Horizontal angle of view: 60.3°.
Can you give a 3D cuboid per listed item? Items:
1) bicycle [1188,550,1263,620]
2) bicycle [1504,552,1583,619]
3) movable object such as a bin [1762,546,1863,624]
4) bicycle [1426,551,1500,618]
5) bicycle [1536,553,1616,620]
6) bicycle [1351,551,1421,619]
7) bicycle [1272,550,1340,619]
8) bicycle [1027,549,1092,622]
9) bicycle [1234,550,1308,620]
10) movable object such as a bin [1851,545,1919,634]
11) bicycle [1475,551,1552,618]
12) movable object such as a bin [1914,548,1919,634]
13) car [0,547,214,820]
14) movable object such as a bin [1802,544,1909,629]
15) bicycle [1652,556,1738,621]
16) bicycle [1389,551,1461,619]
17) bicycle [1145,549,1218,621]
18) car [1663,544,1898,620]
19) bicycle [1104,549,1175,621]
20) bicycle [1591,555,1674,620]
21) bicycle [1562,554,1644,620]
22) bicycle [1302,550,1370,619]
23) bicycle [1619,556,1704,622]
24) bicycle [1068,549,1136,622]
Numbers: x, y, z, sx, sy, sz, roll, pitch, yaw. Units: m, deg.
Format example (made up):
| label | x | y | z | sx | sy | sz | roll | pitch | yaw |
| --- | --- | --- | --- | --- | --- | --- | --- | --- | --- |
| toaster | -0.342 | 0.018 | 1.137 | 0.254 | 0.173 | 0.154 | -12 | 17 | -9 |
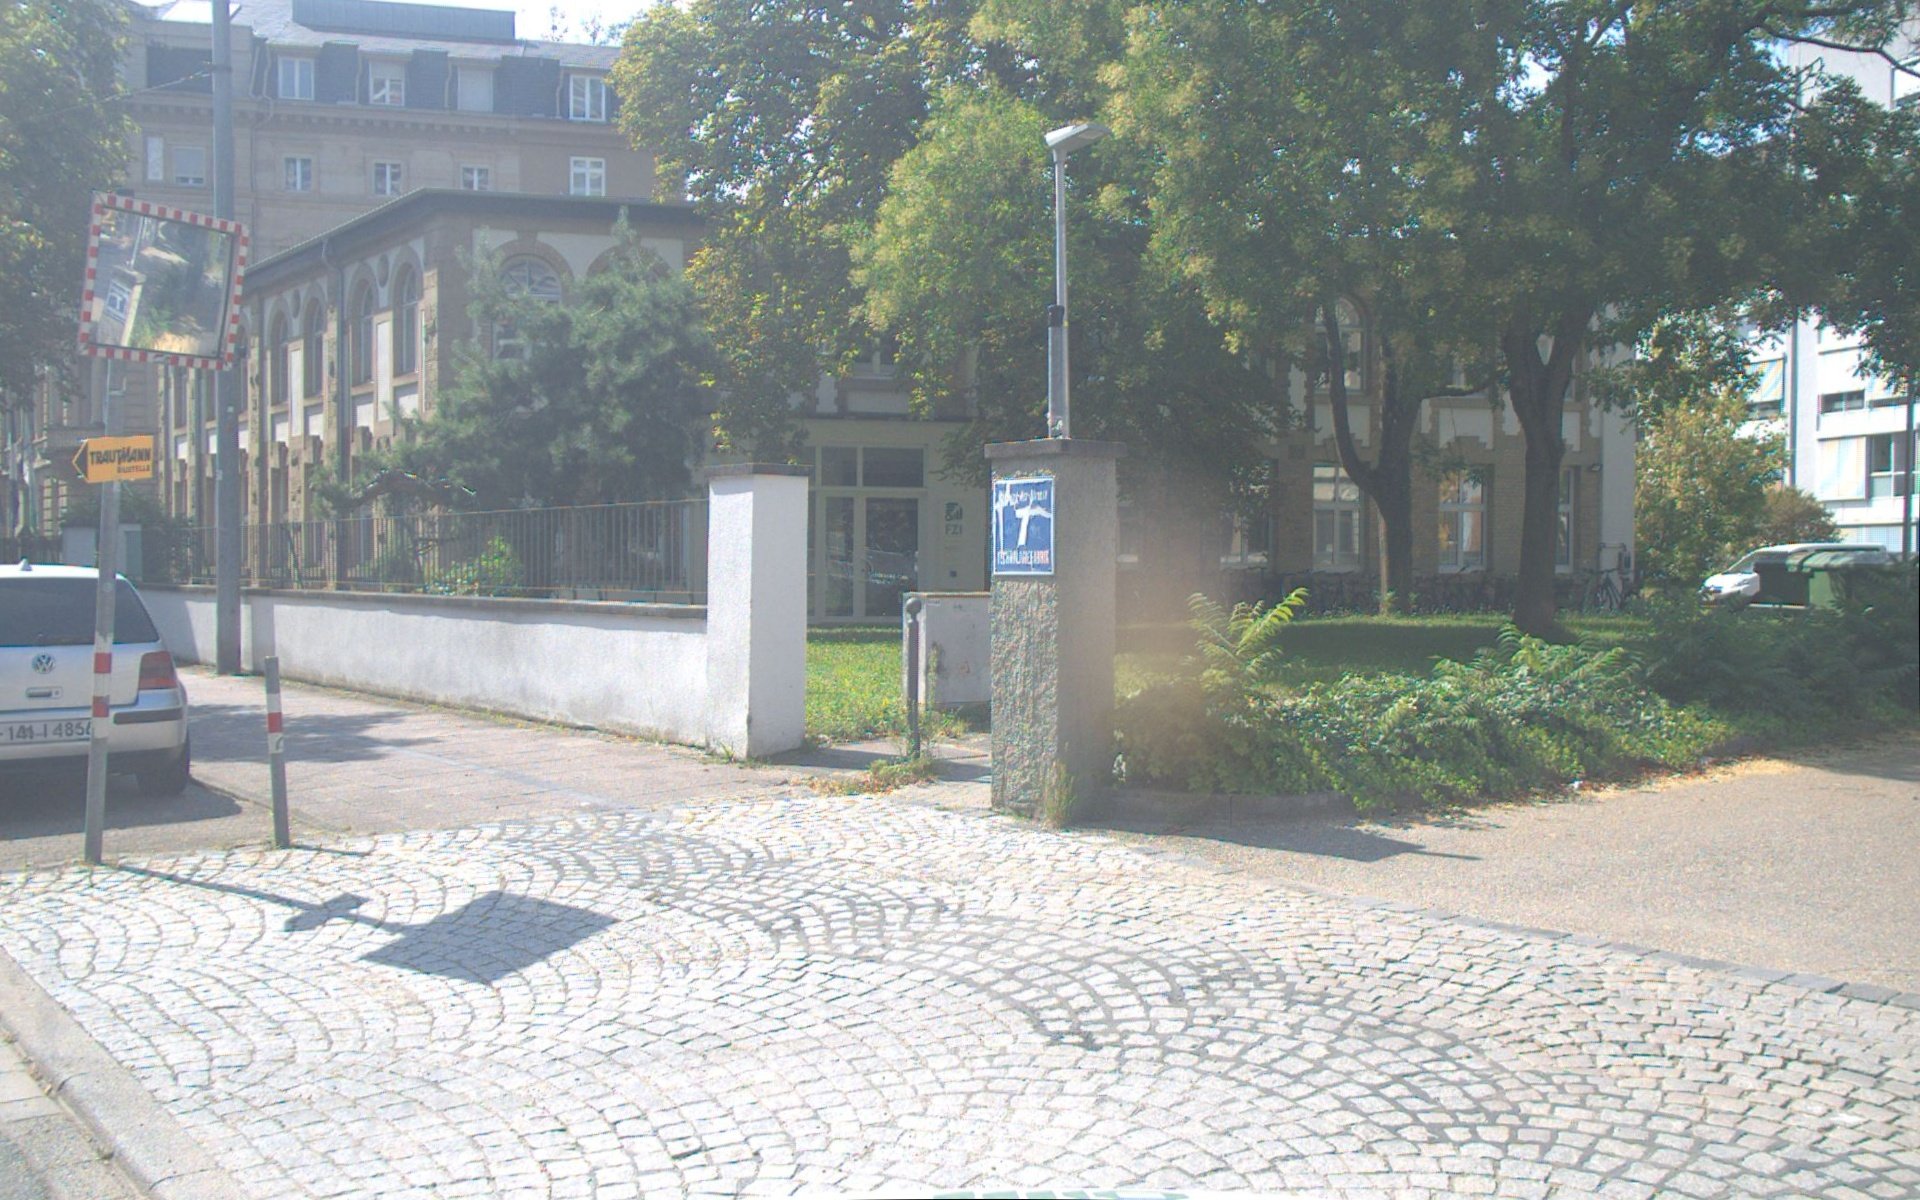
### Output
| label | x | y | z | sx | sy | sz | roll | pitch | yaw |
| --- | --- | --- | --- | --- | --- | --- | --- | --- | --- |
| bicycle | 5.219 | -0.294 | 32.617 | 0.755 | 1.325 | 2.522 | 0 | 0 | -8 |
| bicycle | 11.992 | -0.297 | 34.067 | 0.596 | 1.325 | 2.169 | 0 | 0 | -8 |
| movable object such as a bin | 16.472 | -0.300 | 31.982 | 1.226 | 1.469 | 1.201 | 0 | 2 | -18 |
| bicycle | 10.209 | -0.320 | 33.635 | 0.596 | 1.325 | 2.169 | 0 | 0 | -8 |
| bicycle | 12.667 | -0.277 | 34.082 | 0.596 | 1.325 | 2.169 | 0 | 0 | -8 |
| bicycle | 8.608 | -0.308 | 33.488 | 0.596 | 1.325 | 2.169 | 0 | 0 | -8 |
| bicycle | 6.883 | -0.303 | 33.014 | 0.613 | 1.325 | 2.269 | 0 | 0 | -8 |
| bicycle | 1.883 | -0.280 | 31.573 | 0.755 | 1.325 | 2.522 | 0 | 0 | -8 |
| bicycle | 6.144 | -0.298 | 32.806 | 0.755 | 1.325 | 2.269 | 0 | 0 | -8 |
| movable object such as a bin | 16.358 | -0.198 | 28.729 | 1.080 | 1.507 | 1.096 | 0 | 2 | -18 |
| bicycle | 11.280 | -0.322 | 33.790 | 0.596 | 1.325 | 2.169 | 0 | 0 | -8 |
| movable object such as a bin | 16.988 | -0.137 | 27.638 | 1.226 | 1.456 | 1.325 | 0 | 2 | -18 |
| car | -6.157 | 0.433 | 10.599 | 1.778 | 1.471 | 3.685 | -2 | 2 | -36 |
| movable object such as a bin | 16.339 | -0.260 | 30.194 | 1.226 | 1.521 | 1.201 | 0 | 2 | -18 |
| bicycle | 15.448 | -0.235 | 34.817 | 0.596 | 1.325 | 2.169 | 0 | 0 | -8 |
| bicycle | 9.378 | -0.308 | 33.443 | 0.596 | 1.325 | 2.169 | 0 | 0 | -8 |
| bicycle | 4.283 | -0.292 | 32.138 | 0.755 | 1.325 | 2.522 | 0 | 0 | -8 |
| car | 21.281 | -0.490 | 43.010 | 4.975 | 1.914 | 2.497 | 0 | 1 | -10 |
| bicycle | 3.430 | -0.293 | 31.863 | 0.755 | 1.325 | 2.522 | 0 | 0 | -8 |
| bicycle | 13.972 | -0.260 | 34.436 | 0.596 | 1.325 | 2.169 | 0 | 0 | -8 |
| bicycle | 13.310 | -0.267 | 34.303 | 0.596 | 1.325 | 2.169 | 0 | 0 | -8 |
| bicycle | 7.514 | -0.308 | 33.163 | 0.596 | 1.325 | 2.169 | 0 | 0 | -8 |
| bicycle | 14.631 | -0.232 | 34.554 | 0.596 | 1.325 | 2.169 | 0 | 0 | -8 |
| bicycle | 2.680 | -0.276 | 31.572 | 0.755 | 1.325 | 2.522 | 0 | 0 | -8 |
